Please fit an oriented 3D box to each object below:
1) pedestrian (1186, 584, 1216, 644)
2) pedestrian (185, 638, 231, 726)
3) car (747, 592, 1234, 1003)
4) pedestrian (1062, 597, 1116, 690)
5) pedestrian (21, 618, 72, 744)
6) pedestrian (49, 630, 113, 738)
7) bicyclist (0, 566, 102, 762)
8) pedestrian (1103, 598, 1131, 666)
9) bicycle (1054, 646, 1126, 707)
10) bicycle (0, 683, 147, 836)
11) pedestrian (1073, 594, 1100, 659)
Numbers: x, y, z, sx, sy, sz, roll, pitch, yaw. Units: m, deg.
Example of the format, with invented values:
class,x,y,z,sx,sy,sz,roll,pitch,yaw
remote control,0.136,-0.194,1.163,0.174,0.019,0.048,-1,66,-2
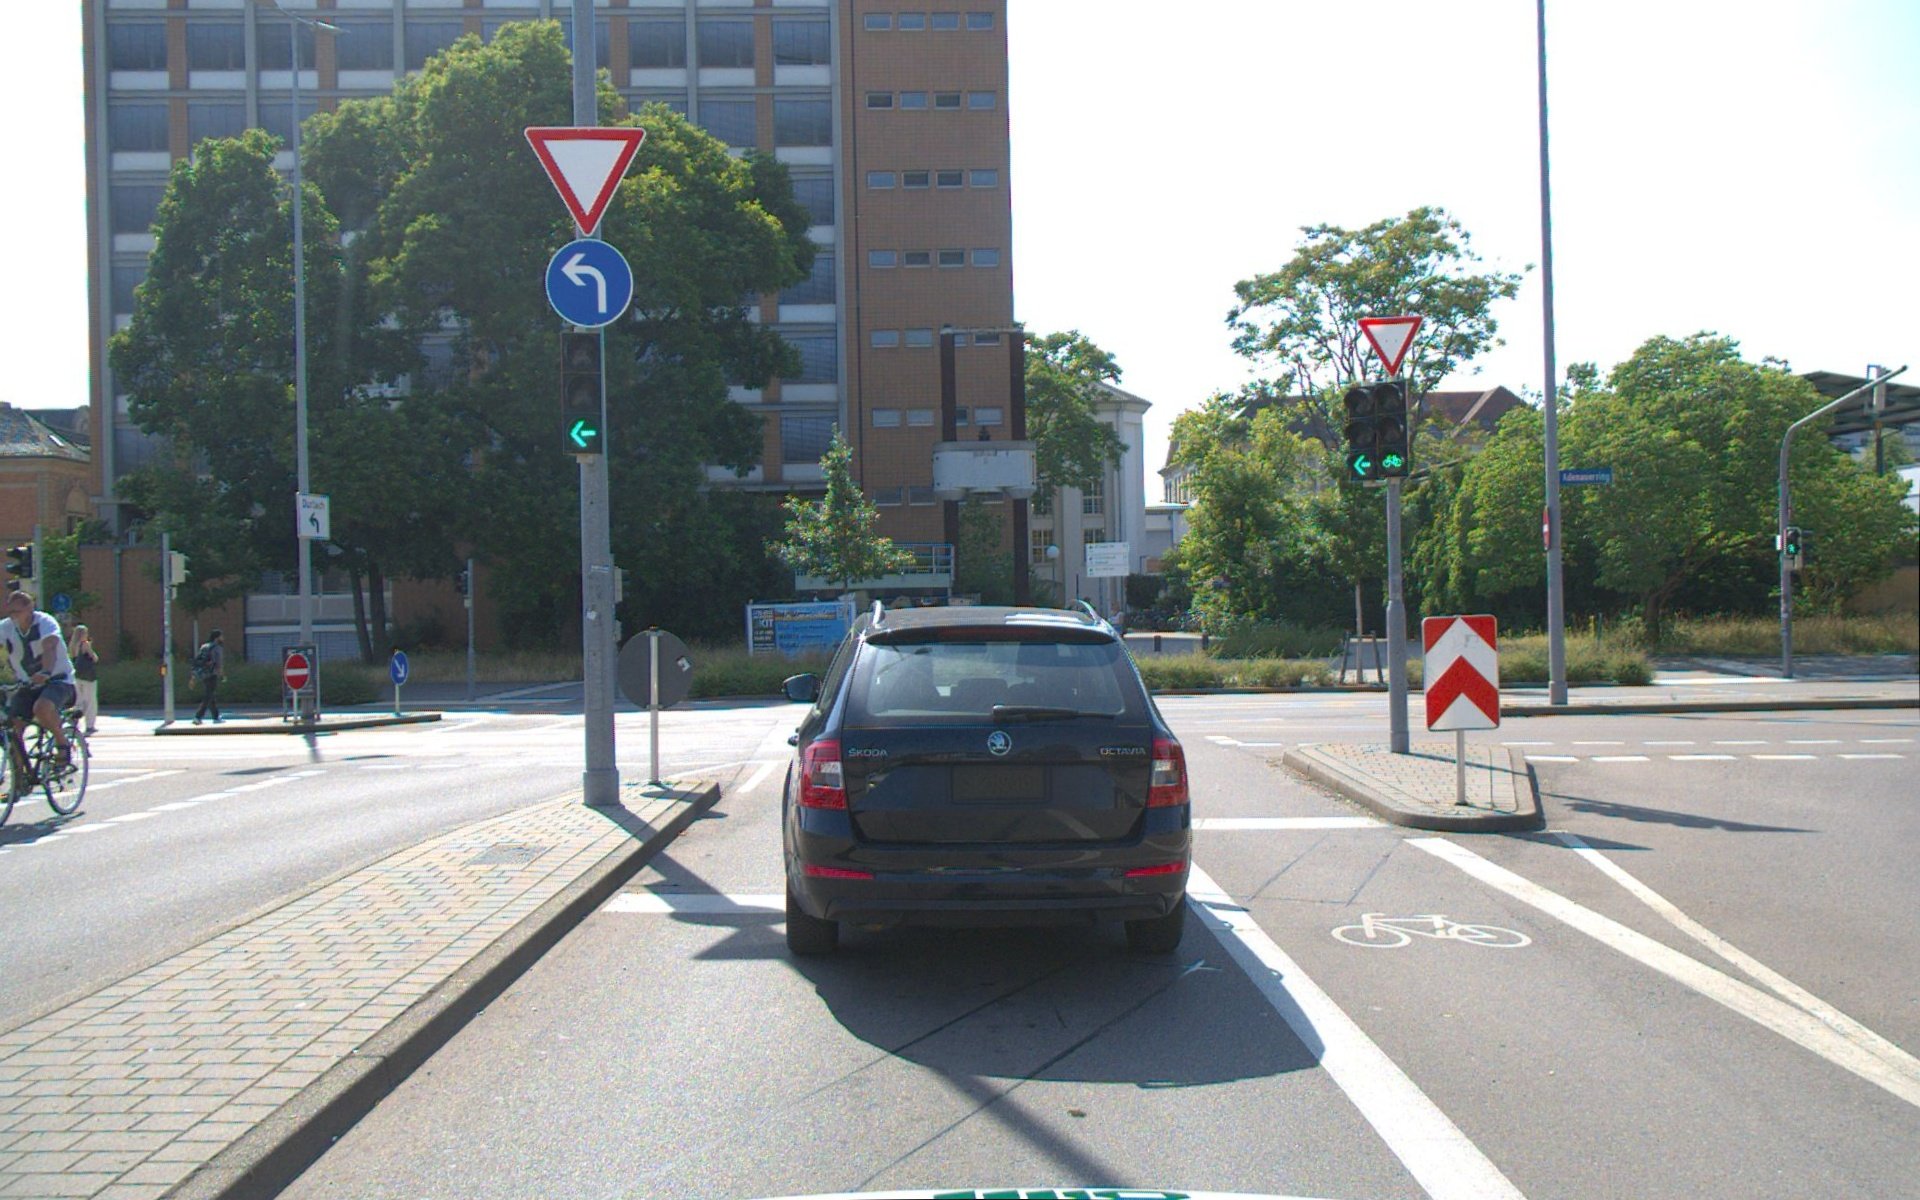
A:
class,x,y,z,sx,sy,sz,roll,pitch,yaw
pedestrian,7.915,0.461,54.330,0.777,1.907,0.639,-3,0,20
pedestrian,-13.418,1.455,29.517,0.621,1.518,0.614,-2,0,-17
car,0.102,0.716,7.851,1.743,1.468,3.817,0,0,0
pedestrian,2.099,0.704,27.033,0.573,1.492,1.009,0,-1,-15
pedestrian,-15.164,1.329,27.466,0.610,2.049,0.678,2,-2,-38
pedestrian,-14.971,1.428,28.199,0.724,1.783,1.105,-2,-2,-17
bicyclist,-7.153,0.487,12.749,0.528,1.441,1.029,-2,-1,-2
pedestrian,4.565,0.928,48.040,0.624,1.907,0.796,-3,0,-1
bicycle,2.103,1.228,27.020,0.586,0.948,2.021,0,-2,-14
bicycle,-7.120,1.202,12.810,0.690,0.994,2.029,-2,0,-3
pedestrian,3.755,0.778,49.024,0.584,1.907,0.639,-2,0,22
